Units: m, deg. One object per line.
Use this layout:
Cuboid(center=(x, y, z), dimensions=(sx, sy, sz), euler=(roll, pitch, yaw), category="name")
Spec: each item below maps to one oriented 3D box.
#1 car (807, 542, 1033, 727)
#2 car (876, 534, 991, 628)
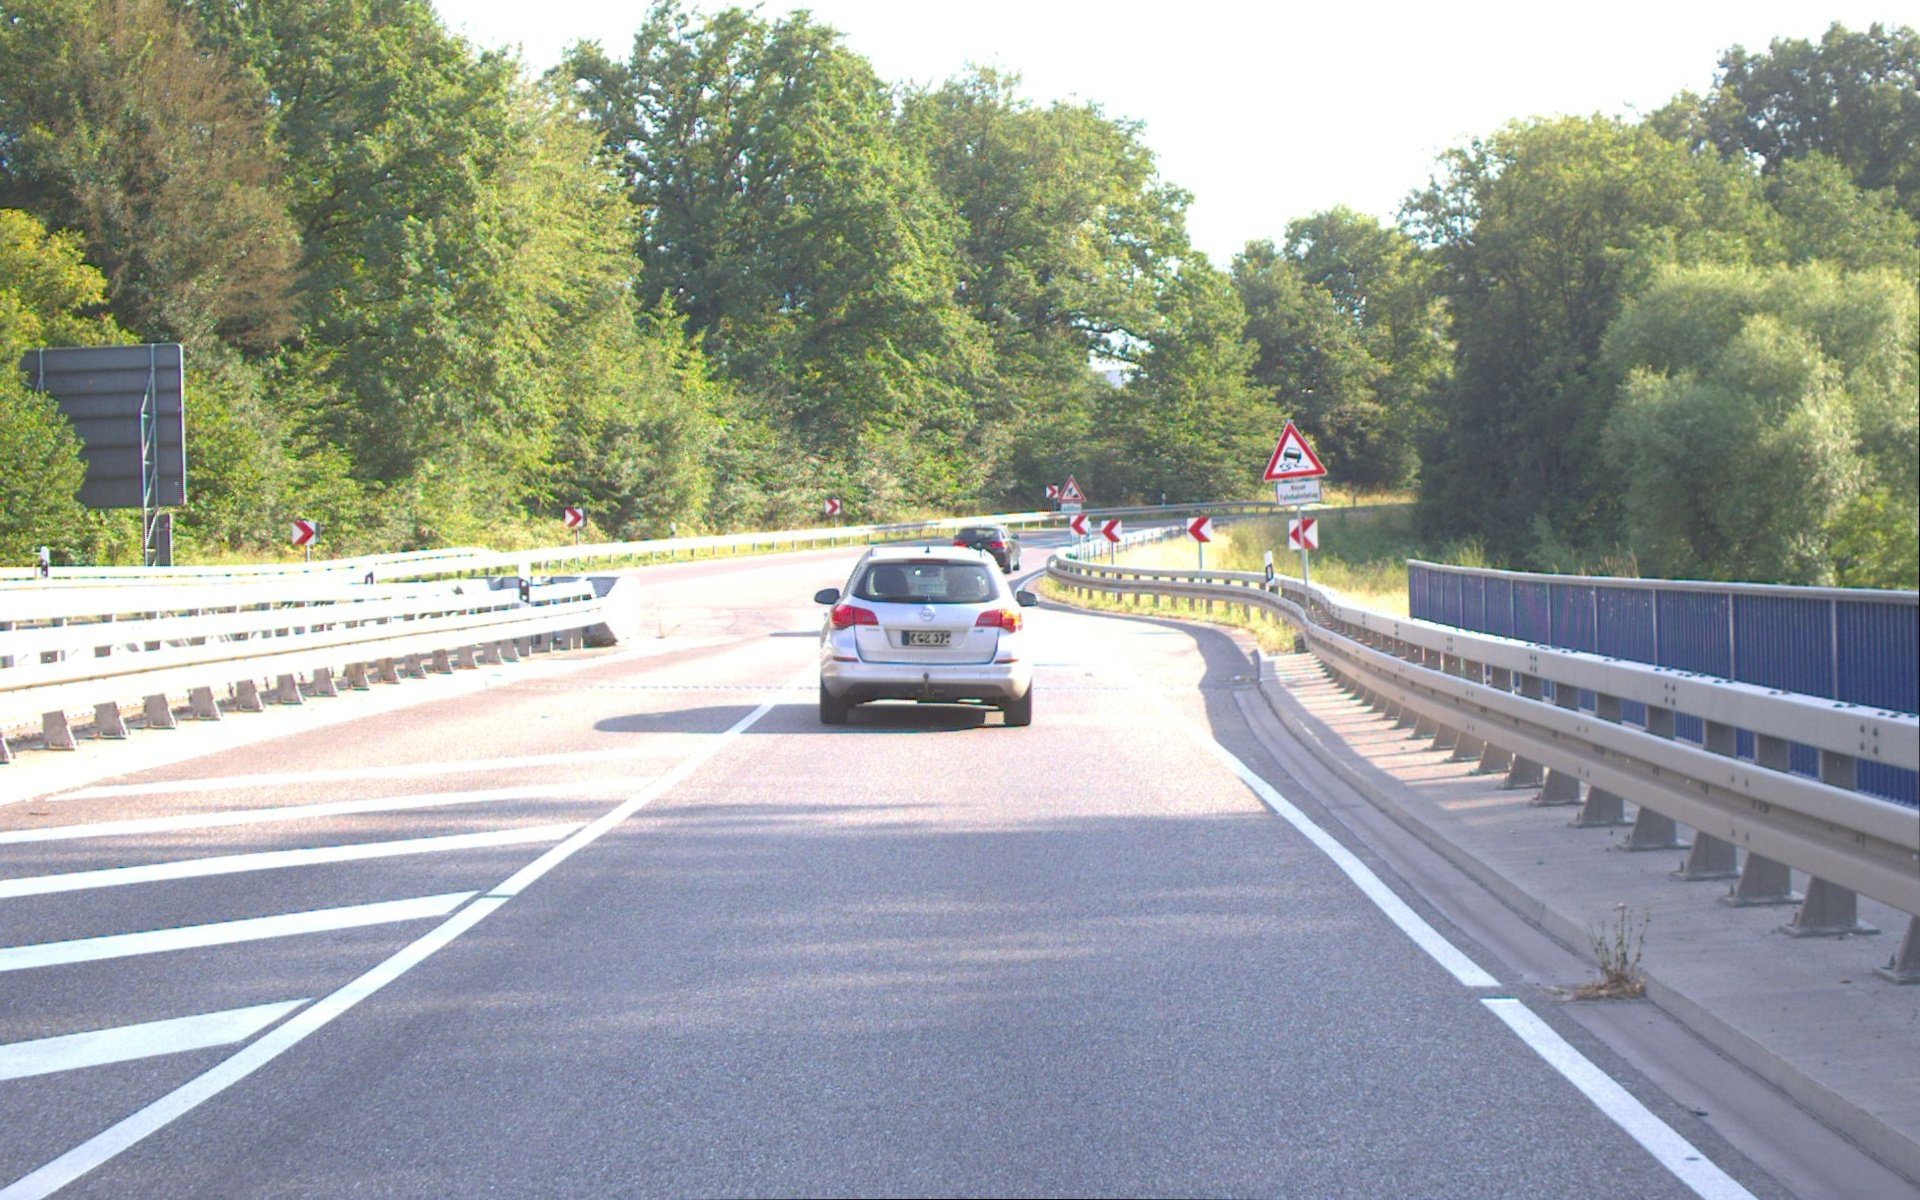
Cuboid(center=(-0.367, 0.266, 29.713), dimensions=(1.809, 1.481, 4.000), euler=(0, 0, -1), category="car")
Cuboid(center=(-0.473, -0.313, 56.450), dimensions=(1.809, 1.481, 4.000), euler=(0, 0, -1), category="car")
